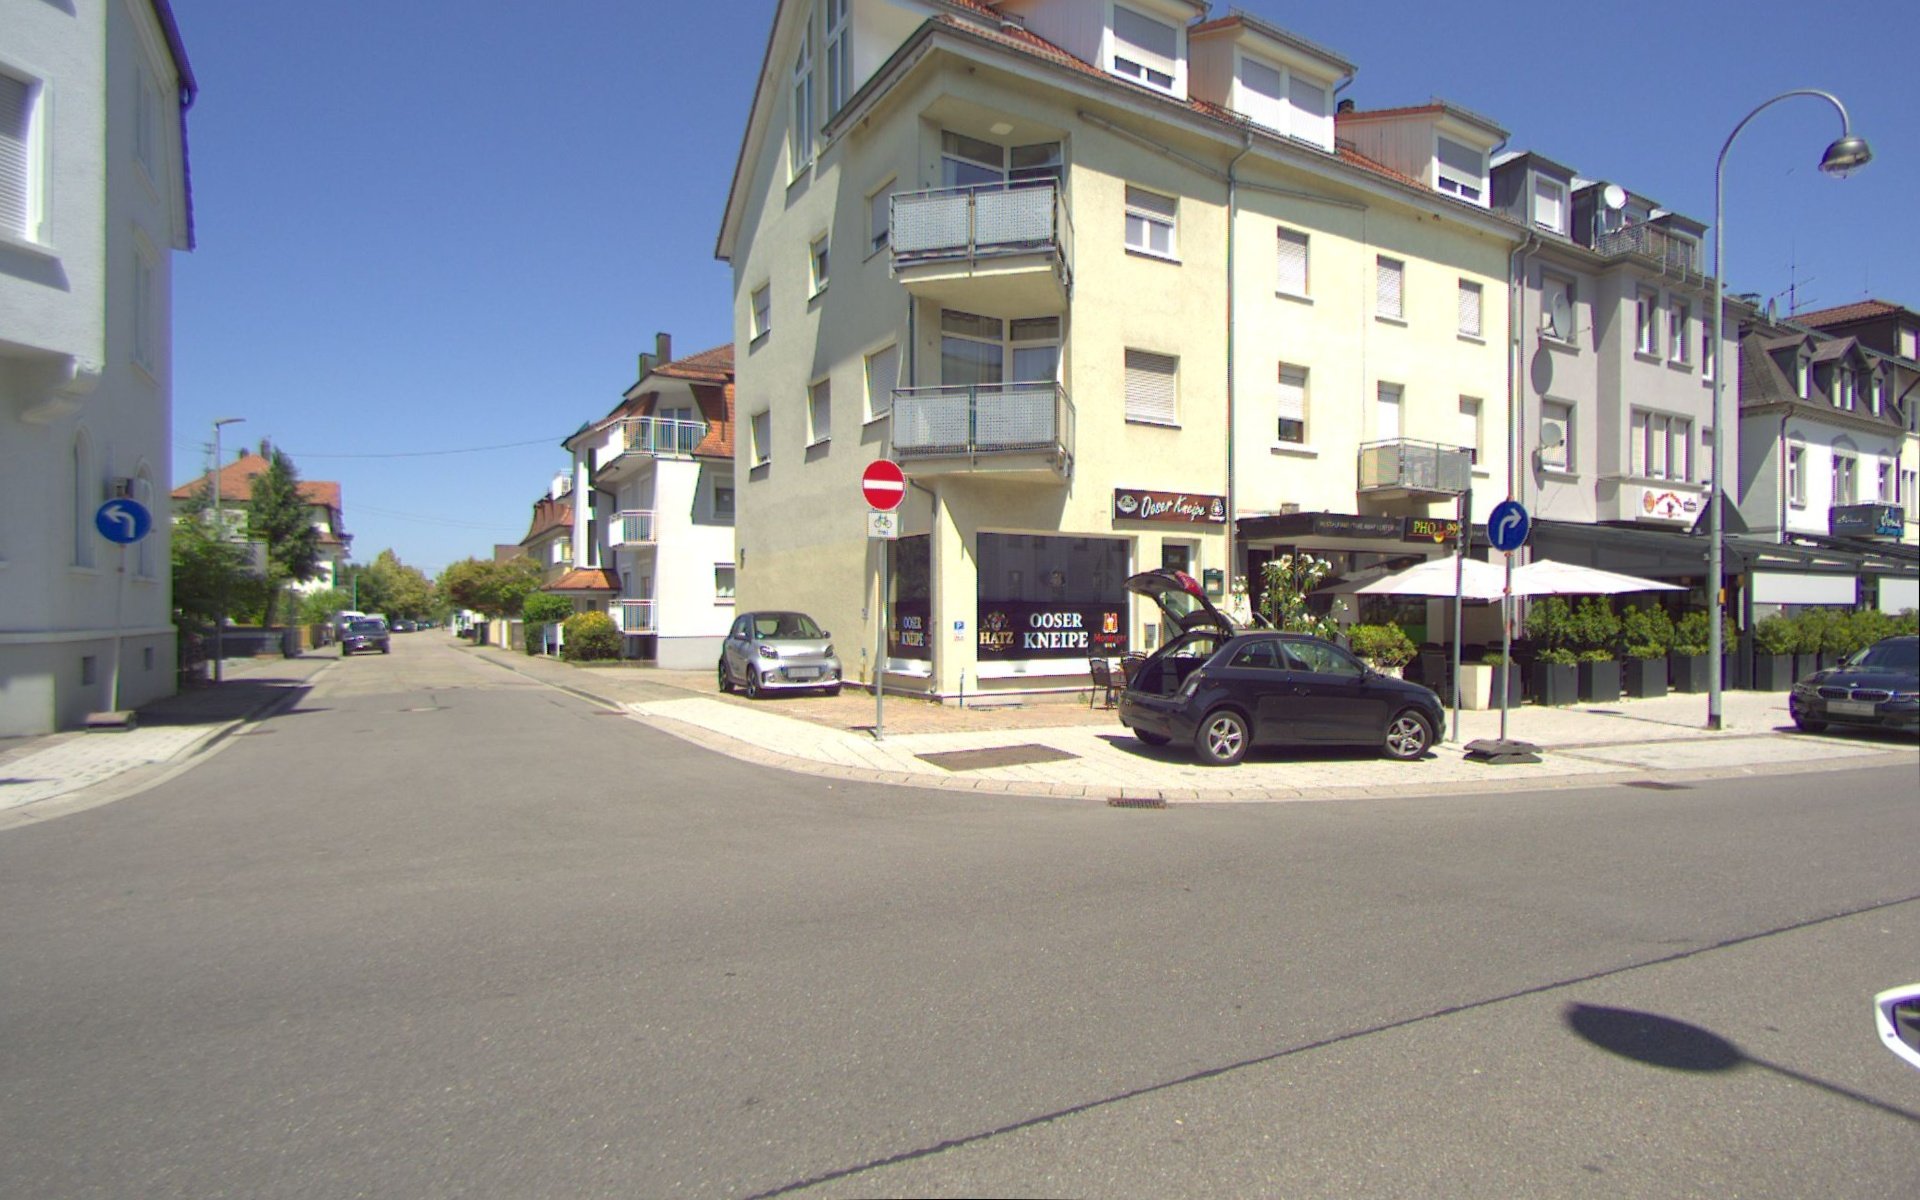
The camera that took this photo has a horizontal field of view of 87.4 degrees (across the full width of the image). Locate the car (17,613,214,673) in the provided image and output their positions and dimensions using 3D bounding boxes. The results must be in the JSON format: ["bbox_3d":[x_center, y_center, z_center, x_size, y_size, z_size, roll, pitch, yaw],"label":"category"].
[{"bbox_3d":[-23.741,1.192,28.429,3.951,1.599,1.655,1,-2,-29],"label":"car"}]

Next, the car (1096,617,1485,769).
[{"bbox_3d":[3.825,1.029,11.717,4.065,1.480,1.711,2,1,-18],"label":"car"}]

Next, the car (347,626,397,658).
[{"bbox_3d":[-28.607,2.020,48.966,1.976,1.439,3.970,1,-2,-29],"label":"car"}]

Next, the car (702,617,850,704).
[{"bbox_3d":[-3.536,1.064,18.929,1.673,1.477,3.244,0,-1,-32],"label":"car"}]

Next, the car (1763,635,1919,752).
[{"bbox_3d":[14.302,1.286,14.948,4.719,1.449,1.828,1,0,-26],"label":"car"}]

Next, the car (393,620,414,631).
[{"bbox_3d":[-71.119,3.273,128.390,1.972,1.439,3.977,1,-2,-24],"label":"car"}]
